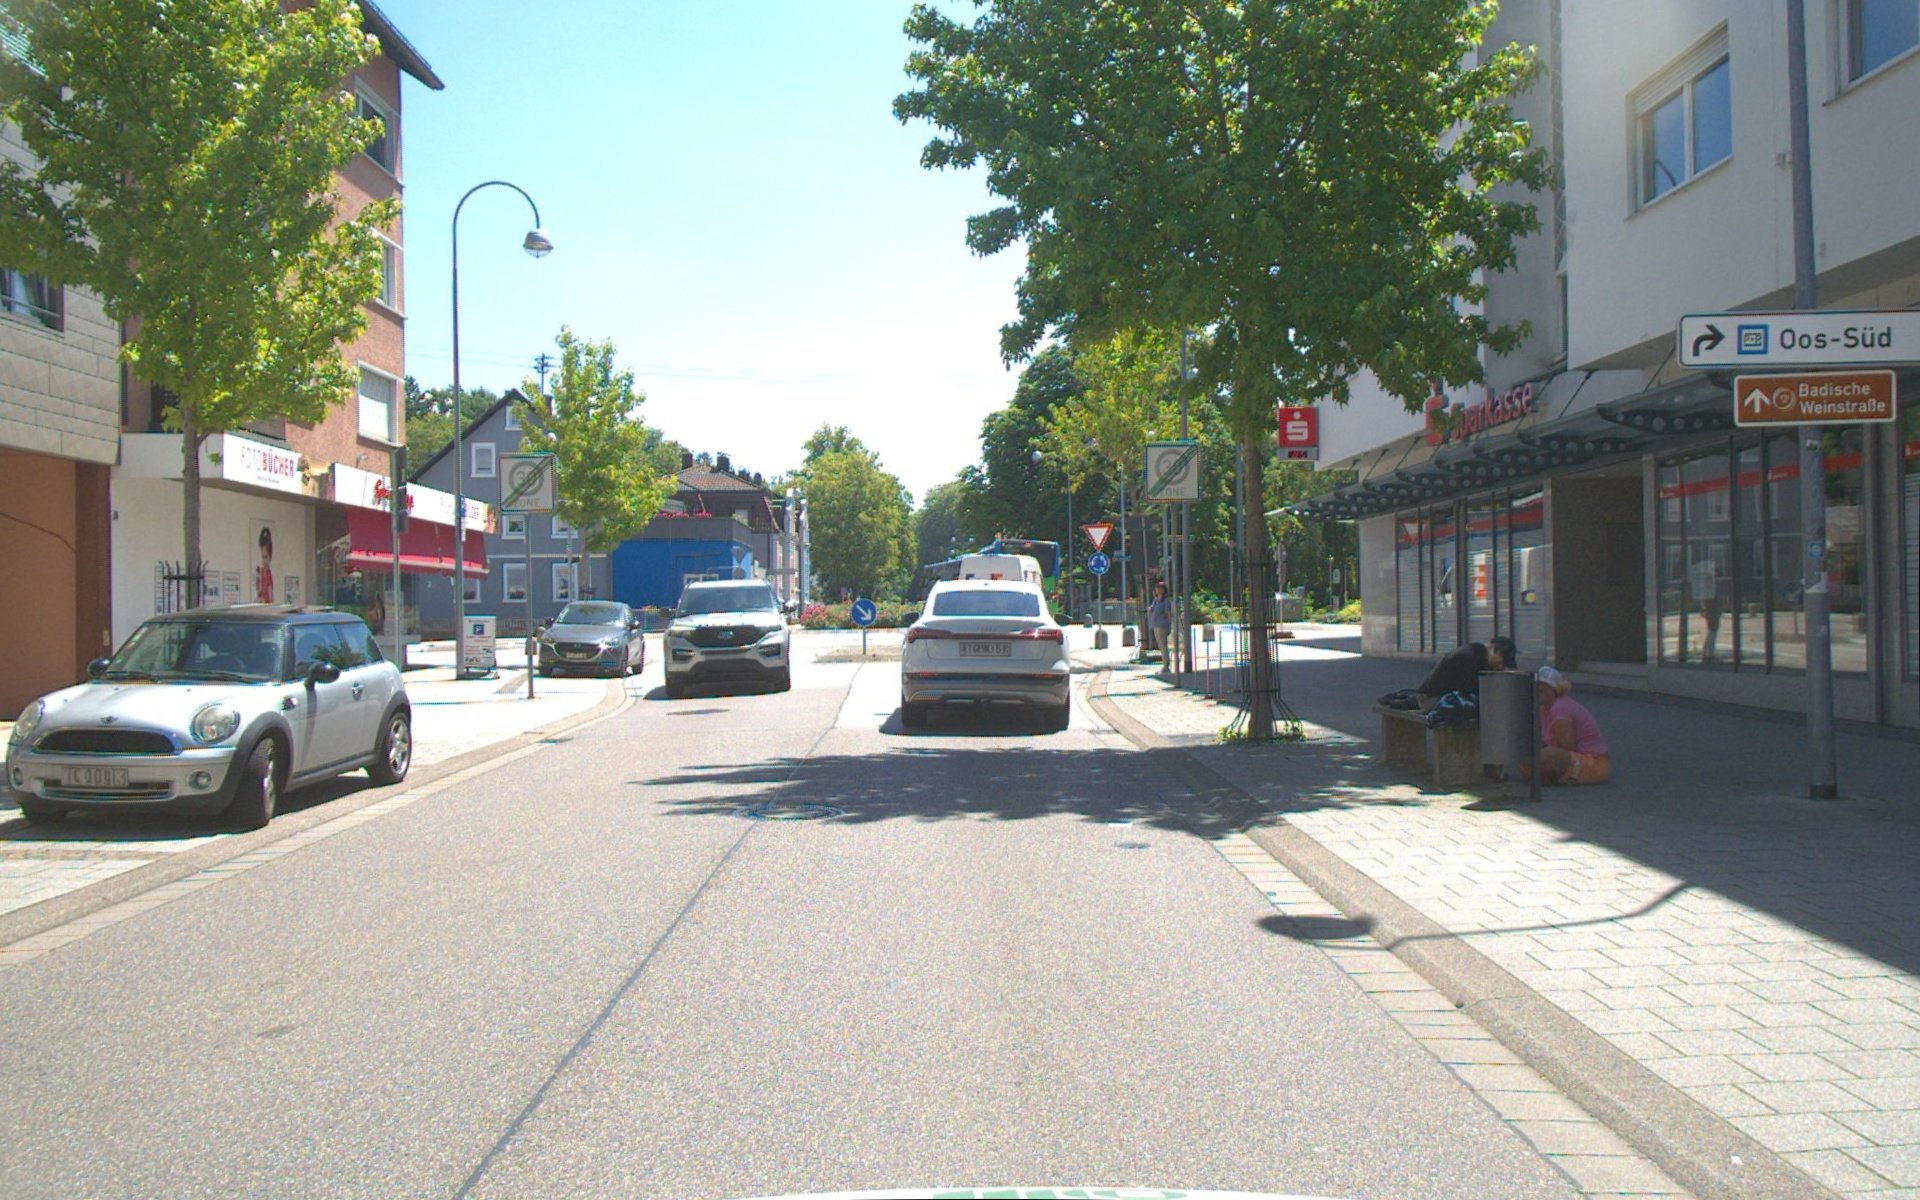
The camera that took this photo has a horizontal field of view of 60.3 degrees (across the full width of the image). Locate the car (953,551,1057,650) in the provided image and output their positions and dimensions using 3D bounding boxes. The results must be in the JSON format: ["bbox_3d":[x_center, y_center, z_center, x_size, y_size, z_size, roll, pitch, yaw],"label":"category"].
[{"bbox_3d":[1.309,0.009,45.513,1.951,2.524,5.489,-1,0,11],"label":"car"}]

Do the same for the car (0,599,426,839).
[{"bbox_3d":[-5.355,0.761,12.331,1.588,1.499,3.548,-1,0,0],"label":"car"}]

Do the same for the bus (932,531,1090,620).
[{"bbox_3d":[1.756,-0.834,69.973,3.637,3.227,18.035,1,-1,-8],"label":"bus"}]

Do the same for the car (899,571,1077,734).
[{"bbox_3d":[0.294,0.544,19.548,1.859,1.691,4.409,1,0,0],"label":"car"}]

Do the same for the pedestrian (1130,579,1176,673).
[{"bbox_3d":[3.427,0.460,29.368,0.717,1.638,0.559,-1,0,1],"label":"pedestrian"}]

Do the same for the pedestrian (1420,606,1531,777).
[{"bbox_3d":[3.911,0.687,12.587,0.744,1.262,0.538,-2,-1,14],"label":"pedestrian"}]

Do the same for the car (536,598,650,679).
[{"bbox_3d":[-7.414,0.740,33.747,1.634,1.512,4.057,2,0,-4],"label":"car"}]

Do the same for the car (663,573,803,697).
[{"bbox_3d":[-3.641,0.533,27.267,1.863,1.784,4.753,-2,0,-4],"label":"car"}]

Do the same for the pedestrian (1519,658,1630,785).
[{"bbox_3d":[4.429,0.874,11.950,0.663,0.867,0.538,-2,-1,14],"label":"pedestrian"}]

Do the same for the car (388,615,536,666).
[{"bbox_3d":[-16.408,1.321,54.614,4.334,1.483,1.768,-1,1,-1],"label":"car"}]
